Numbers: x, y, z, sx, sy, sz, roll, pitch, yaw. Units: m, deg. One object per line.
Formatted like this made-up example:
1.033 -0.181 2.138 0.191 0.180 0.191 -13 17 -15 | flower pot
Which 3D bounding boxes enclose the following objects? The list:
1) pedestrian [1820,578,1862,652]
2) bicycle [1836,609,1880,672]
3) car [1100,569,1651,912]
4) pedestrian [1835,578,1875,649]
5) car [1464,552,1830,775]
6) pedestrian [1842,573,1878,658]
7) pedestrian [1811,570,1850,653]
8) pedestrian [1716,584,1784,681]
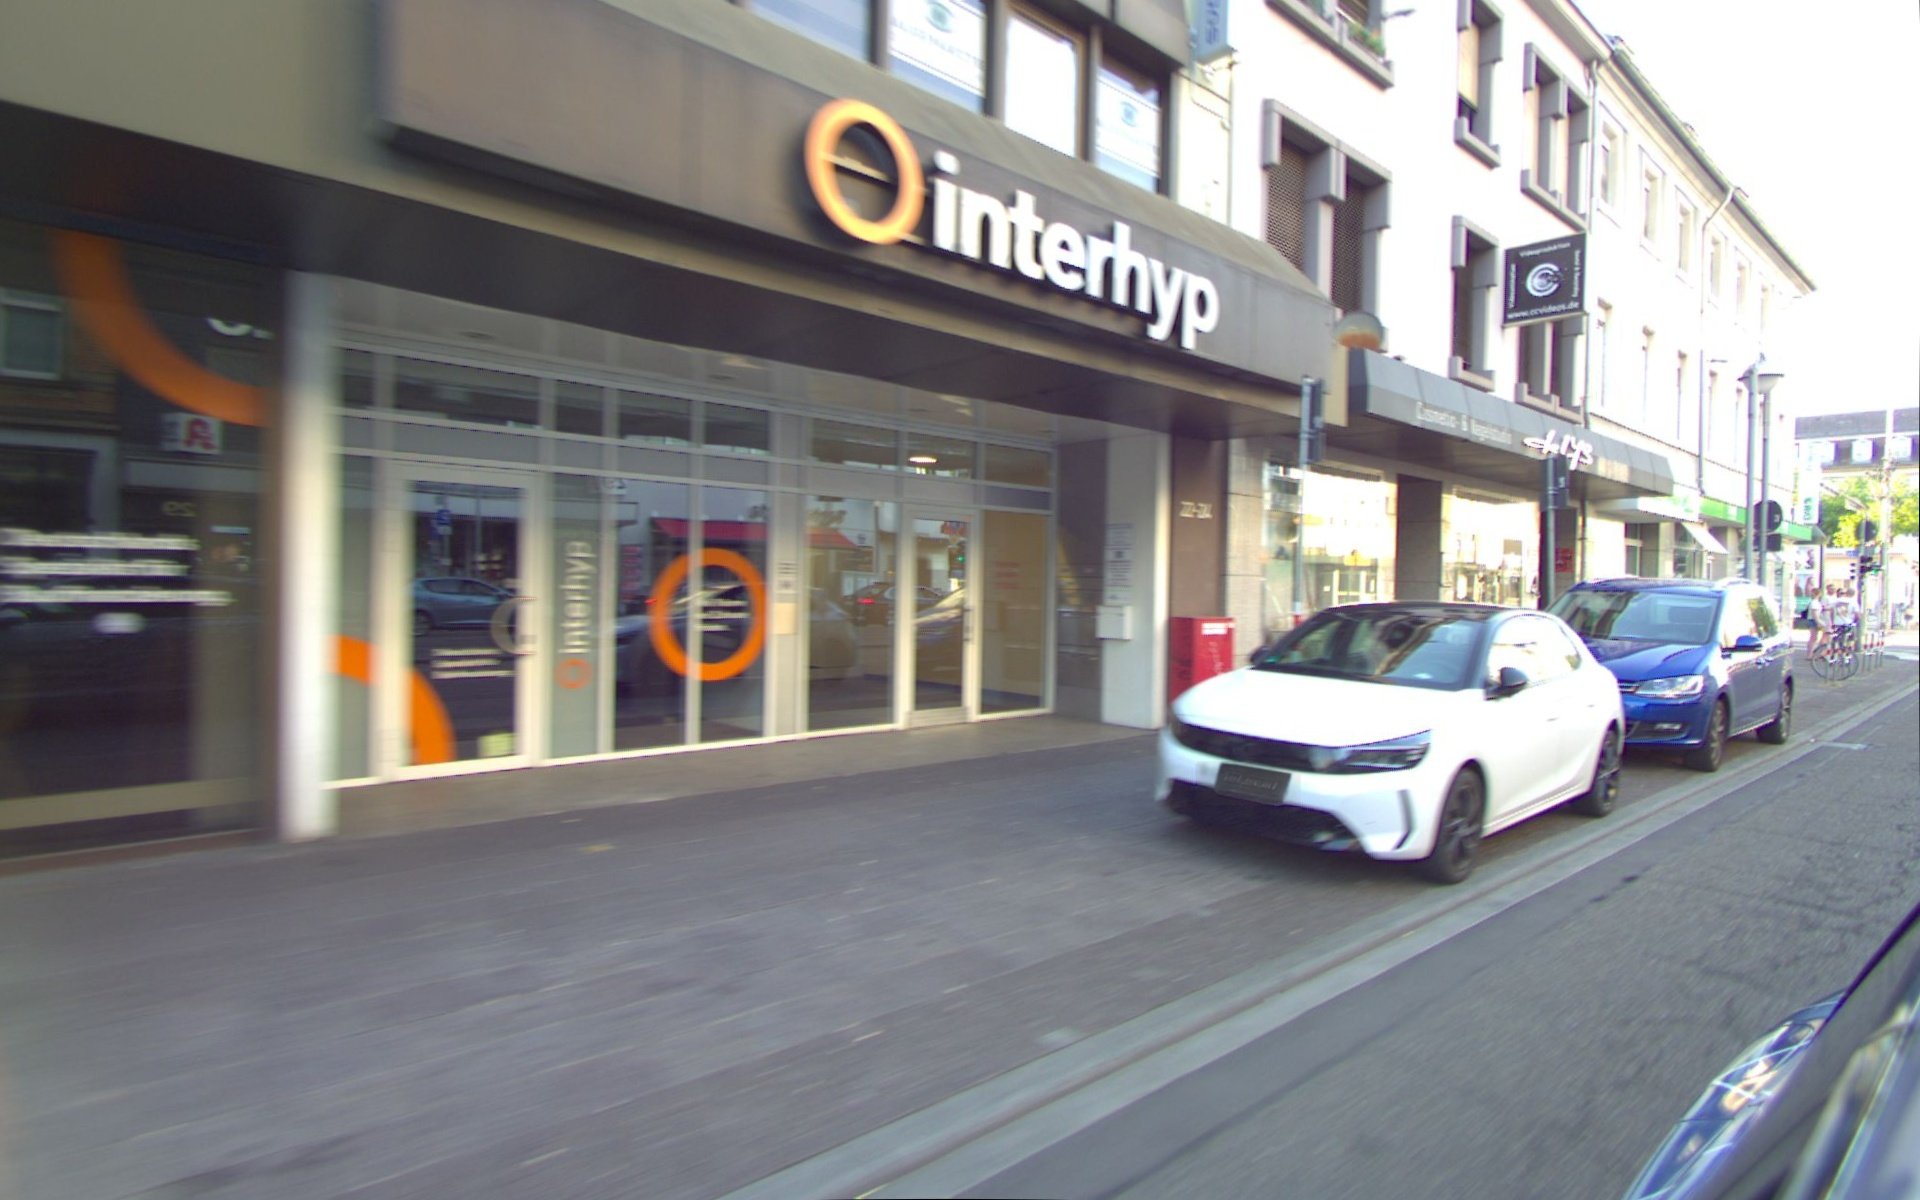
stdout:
21.672 0.351 24.895 0.687 1.767 0.639 0 1 -39 | pedestrian
17.215 0.754 19.391 1.621 1.103 0.478 -1 3 -45 | bicycle
2.851 0.624 6.559 3.805 1.503 1.769 0 3 -42 | car
23.317 0.334 26.374 0.636 1.800 0.671 0 1 -40 | pedestrian
7.129 0.477 10.316 4.483 1.738 1.919 0 3 -41 | car
21.028 0.356 23.652 0.573 1.952 0.489 1 1 38 | pedestrian
20.938 0.270 24.361 0.636 1.952 0.522 1 1 37 | pedestrian
13.248 0.527 16.975 0.854 1.567 0.699 0 1 -39 | pedestrian
